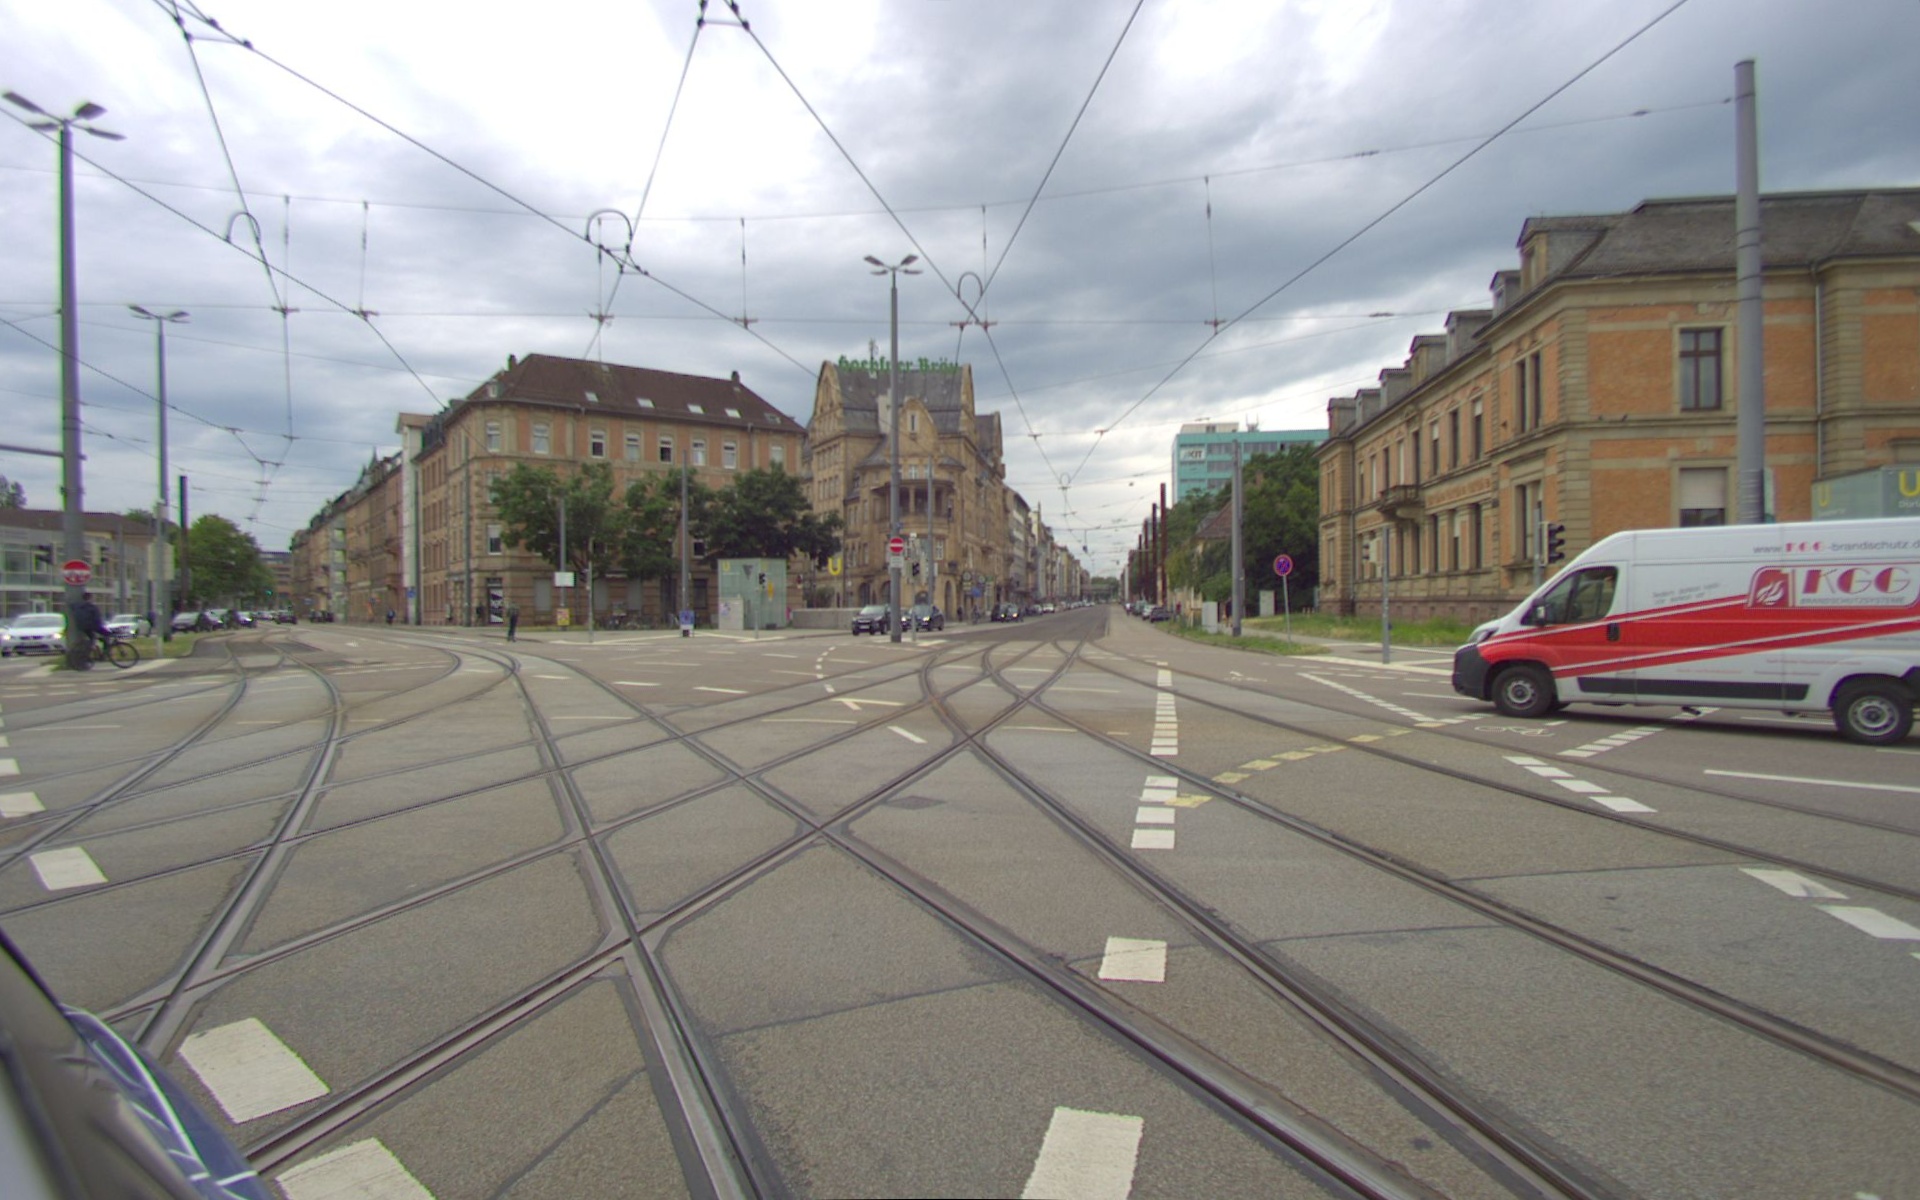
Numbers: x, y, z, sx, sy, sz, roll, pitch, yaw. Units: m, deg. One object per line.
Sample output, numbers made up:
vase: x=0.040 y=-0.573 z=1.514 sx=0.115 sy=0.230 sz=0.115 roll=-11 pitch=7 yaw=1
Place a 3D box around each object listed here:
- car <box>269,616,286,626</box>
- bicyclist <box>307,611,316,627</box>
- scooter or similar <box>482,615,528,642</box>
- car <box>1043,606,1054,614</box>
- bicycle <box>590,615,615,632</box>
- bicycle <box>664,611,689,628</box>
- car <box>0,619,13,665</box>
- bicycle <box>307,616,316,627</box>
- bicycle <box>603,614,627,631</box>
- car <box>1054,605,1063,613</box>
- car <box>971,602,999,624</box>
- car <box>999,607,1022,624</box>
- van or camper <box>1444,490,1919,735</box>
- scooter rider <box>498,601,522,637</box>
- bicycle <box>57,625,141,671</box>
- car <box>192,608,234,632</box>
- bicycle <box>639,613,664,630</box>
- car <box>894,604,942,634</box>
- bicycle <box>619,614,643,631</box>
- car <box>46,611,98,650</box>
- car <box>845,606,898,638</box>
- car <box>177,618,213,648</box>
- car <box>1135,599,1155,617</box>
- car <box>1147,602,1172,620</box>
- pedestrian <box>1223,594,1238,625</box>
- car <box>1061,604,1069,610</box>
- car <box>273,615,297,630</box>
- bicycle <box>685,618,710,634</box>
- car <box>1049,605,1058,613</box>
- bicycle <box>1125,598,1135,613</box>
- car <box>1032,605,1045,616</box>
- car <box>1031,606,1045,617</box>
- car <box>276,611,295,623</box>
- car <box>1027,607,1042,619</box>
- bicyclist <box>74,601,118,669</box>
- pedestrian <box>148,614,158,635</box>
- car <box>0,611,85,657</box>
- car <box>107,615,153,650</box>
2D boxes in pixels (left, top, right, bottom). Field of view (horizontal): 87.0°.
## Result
car: x=-104.240 y=3.162 z=154.538 sx=1.787 sy=1.442 sz=4.026 roll=-1 pitch=0 yaw=-38
bicyclist: x=-78.370 y=2.309 z=122.310 sx=0.811 sy=1.880 sz=0.926 roll=0 pitch=-1 yaw=-37
scooter or similar: x=-20.769 y=1.307 z=46.190 sx=1.881 sy=1.174 sz=0.574 roll=-1 pitch=0 yaw=3
car: x=15.698 y=1.776 z=179.268 sx=1.811 sy=1.477 sz=3.993 roll=-1 pitch=0 yaw=7
bicycle: x=-22.410 y=1.449 z=63.390 sx=0.824 sy=1.038 sz=2.402 roll=-1 pitch=0 yaw=-36
bicycle: x=-18.461 y=1.282 z=65.841 sx=0.742 sy=1.038 sz=2.402 roll=-1 pitch=0 yaw=-36
car: x=-44.191 y=1.886 z=45.700 sx=1.971 sy=2.029 sz=4.002 roll=0 pitch=0 yaw=-45
bicycle: x=-78.402 y=2.599 z=122.379 sx=0.786 sy=1.302 sz=2.417 roll=0 pitch=-1 yaw=-36
bicycle: x=-21.776 y=1.429 z=63.830 sx=0.742 sy=1.038 sz=2.402 roll=-1 pitch=0 yaw=-36
car: x=20.215 y=1.872 z=208.130 sx=1.811 sy=1.477 sz=3.993 roll=-1 pitch=0 yaw=7
car: x=2.130 y=1.038 z=85.108 sx=1.812 sy=1.773 sz=3.990 roll=0 pitch=0 yaw=10
car: x=4.729 y=1.408 z=93.836 sx=1.811 sy=1.477 sz=3.993 roll=-1 pitch=0 yaw=7
van or camper: x=9.335 y=0.153 z=12.621 sx=5.570 sy=2.547 sz=2.256 roll=-1 pitch=-1 yaw=41
scooter rider: x=-20.529 y=0.865 z=46.174 sx=0.811 sy=1.640 sz=0.569 roll=-1 pitch=0 yaw=2
bicycle: x=-21.401 y=1.173 z=25.191 sx=0.523 sy=1.078 sz=1.607 roll=0 pitch=0 yaw=14
car: x=-59.334 y=1.570 z=80.442 sx=2.334 sy=1.768 sz=5.143 roll=-1 pitch=0 yaw=-33
bicycle: x=-19.819 y=1.386 z=64.988 sx=0.742 sy=1.038 sz=2.402 roll=-1 pitch=0 yaw=-36
car: x=-2.470 y=1.142 z=61.430 sx=2.137 sy=1.727 sz=4.913 roll=-1 pitch=0 yaw=7
bicycle: x=-20.954 y=1.411 z=64.512 sx=0.742 sy=1.038 sz=2.402 roll=-1 pitch=0 yaw=-36
car: x=-49.347 y=1.664 z=56.306 sx=1.968 sy=2.029 sz=4.008 roll=-1 pitch=0 yaw=-38
car: x=-4.705 y=1.155 z=54.497 sx=1.976 sy=1.623 sz=4.236 roll=-1 pitch=0 yaw=7
car: x=-56.136 y=2.395 z=74.342 sx=1.967 sy=2.029 sz=4.010 roll=-1 pitch=0 yaw=-35
car: x=18.949 y=0.805 z=103.529 sx=1.979 sy=1.863 sz=3.985 roll=0 pitch=-1 yaw=11
car: x=17.186 y=0.955 z=87.210 sx=1.979 sy=1.442 sz=3.986 roll=-1 pitch=0 yaw=11
pedestrian: x=16.664 y=0.586 z=62.307 sx=0.802 sy=1.846 sz=0.846 roll=-1 pitch=0 yaw=12
car: x=25.101 y=1.689 z=241.312 sx=1.811 sy=1.477 sz=3.993 roll=-1 pitch=0 yaw=7
car: x=-74.863 y=2.497 z=112.247 sx=1.859 sy=1.481 sz=4.473 roll=-1 pitch=0 yaw=-38
bicycle: x=-17.308 y=1.689 z=66.724 sx=0.742 sy=1.038 sz=2.402 roll=0 pitch=-1 yaw=-36
car: x=20.720 y=1.982 z=224.115 sx=1.811 sy=1.477 sz=3.993 roll=-1 pitch=0 yaw=7
bicycle: x=21.269 y=0.689 z=126.758 sx=1.075 sy=1.763 sz=3.075 roll=-1 pitch=0 yaw=11
car: x=11.741 y=1.534 z=151.174 sx=1.811 sy=1.477 sz=3.993 roll=-1 pitch=0 yaw=7
car: x=11.177 y=1.669 z=145.667 sx=1.811 sy=1.477 sz=3.993 roll=-1 pitch=0 yaw=7
car: x=-94.683 y=2.408 z=142.026 sx=1.807 sy=1.657 sz=4.239 roll=-1 pitch=0 yaw=-38
car: x=10.359 y=1.802 z=140.764 sx=1.811 sy=1.477 sz=3.993 roll=-1 pitch=0 yaw=7
bicyclist: x=-21.432 y=0.859 z=25.100 sx=0.513 sy=1.651 sz=0.652 roll=0 pitch=0 yaw=15
pedestrian: x=-67.030 y=2.043 z=84.040 sx=0.653 sy=1.693 sz=0.652 roll=0 pitch=-1 yaw=-37
car: x=-32.080 y=1.144 z=35.231 sx=1.941 sy=1.467 sz=4.204 roll=-1 pitch=0 yaw=-34
car: x=-52.399 y=2.007 z=63.961 sx=1.967 sy=2.029 sz=4.010 roll=-1 pitch=0 yaw=-35
